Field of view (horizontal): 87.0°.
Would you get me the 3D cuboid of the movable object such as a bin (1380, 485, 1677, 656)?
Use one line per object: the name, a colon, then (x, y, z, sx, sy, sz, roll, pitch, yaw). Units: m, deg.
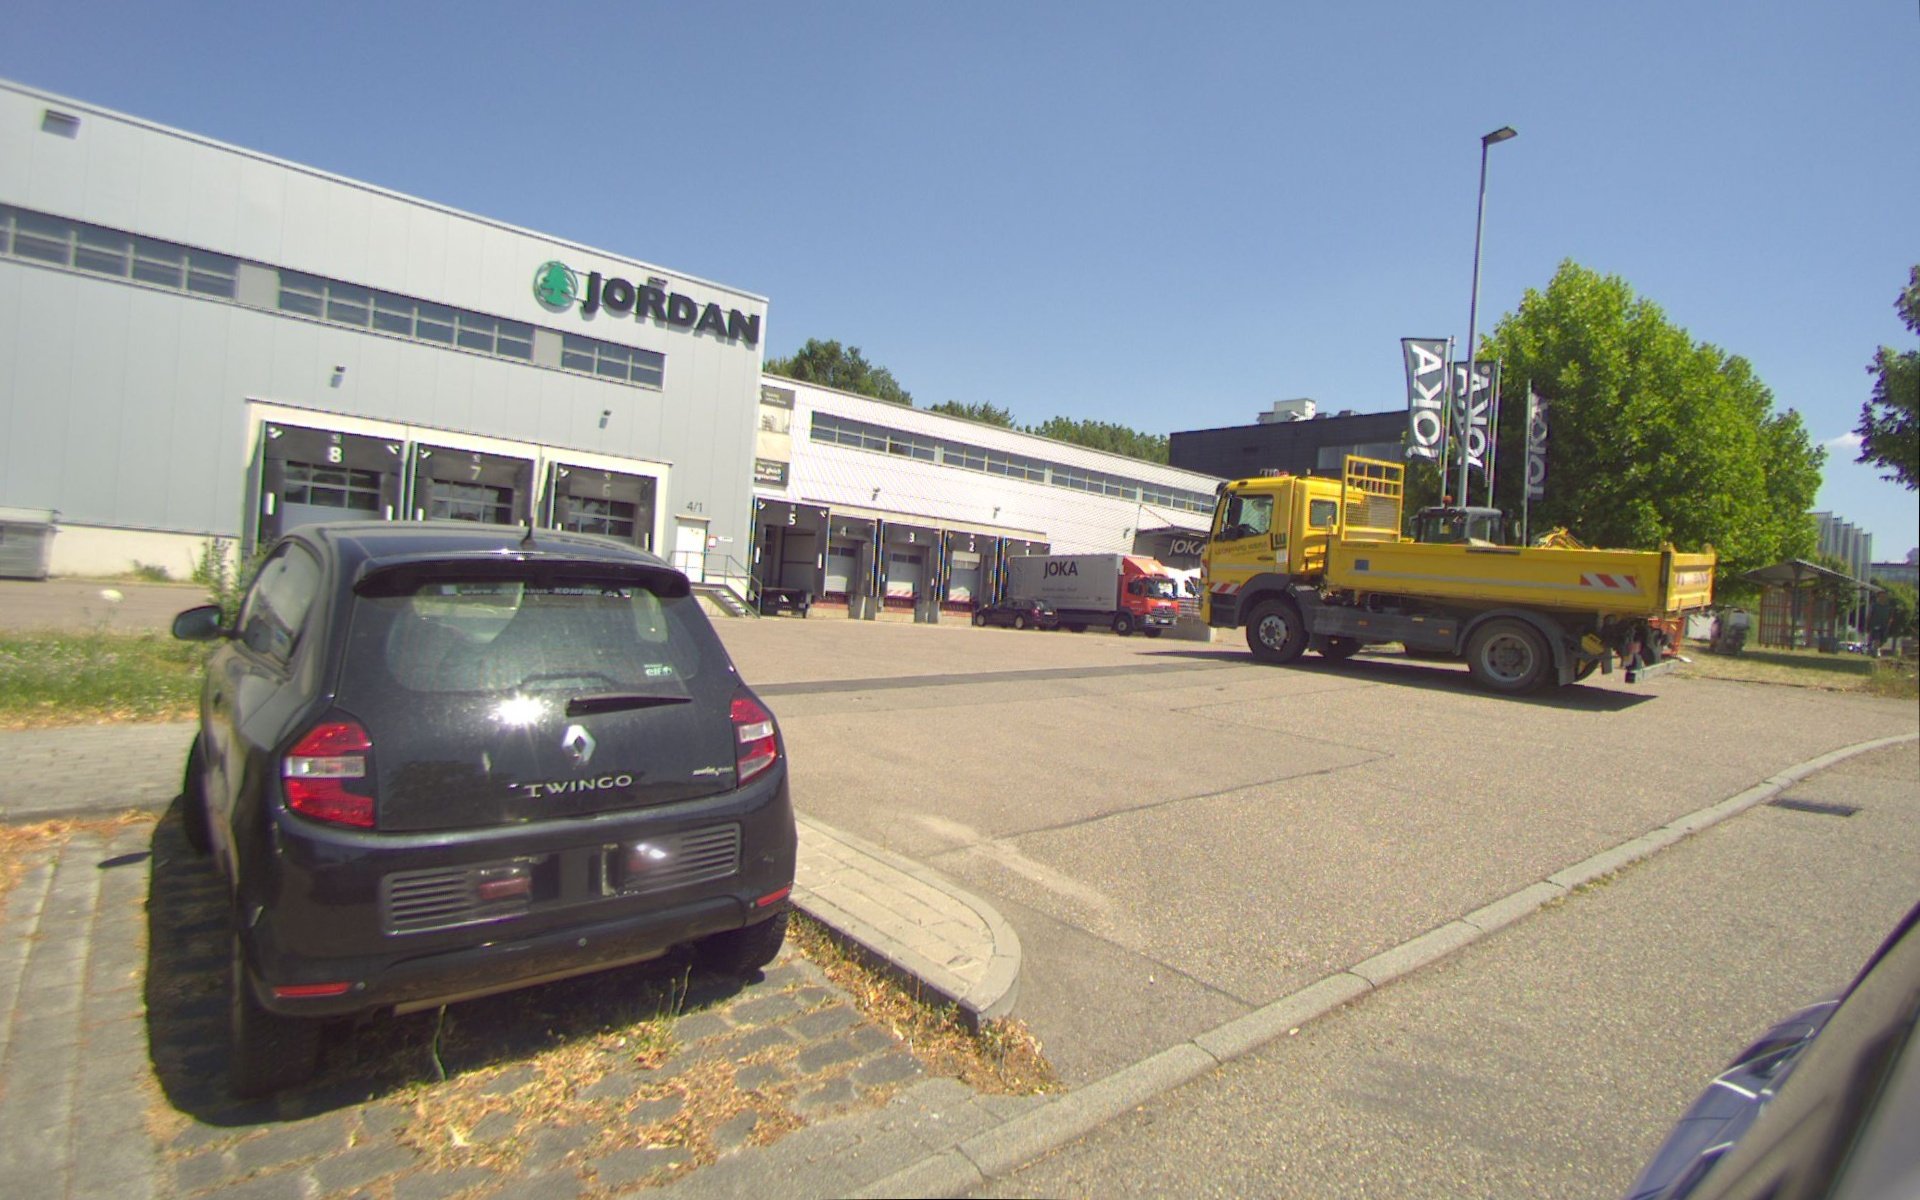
movable object such as a bin: (10.328, -0.444, 18.132, 6.452, 2.613, 2.000, 1, 1, -35)

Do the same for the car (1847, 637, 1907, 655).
car: (82.277, 4.124, 90.841, 1.581, 1.290, 3.840, 2, 0, -40)

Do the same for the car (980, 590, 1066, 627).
car: (2.848, 0.355, 46.405, 1.775, 1.419, 3.791, 5, -1, -39)

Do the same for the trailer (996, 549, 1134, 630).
trailer: (4.911, -0.545, 48.461, 2.139, 3.503, 6.701, 6, -3, -41)

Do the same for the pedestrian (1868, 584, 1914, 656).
pedestrian: (22.729, 0.495, 24.713, 0.520, 1.691, 0.580, 5, -3, -12)

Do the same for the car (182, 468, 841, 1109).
car: (-2.191, 0.325, 4.255, 1.598, 1.480, 3.670, 1, 3, -39)

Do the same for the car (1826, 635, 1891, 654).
car: (75.183, 3.735, 84.719, 1.675, 1.290, 3.887, 2, 0, -40)

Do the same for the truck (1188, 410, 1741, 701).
truck: (6.692, -0.643, 14.246, 2.552, 3.175, 6.412, 0, 3, -43)

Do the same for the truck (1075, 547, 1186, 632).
truck: (7.598, -0.469, 45.347, 2.119, 3.496, 4.339, 6, -3, -41)
